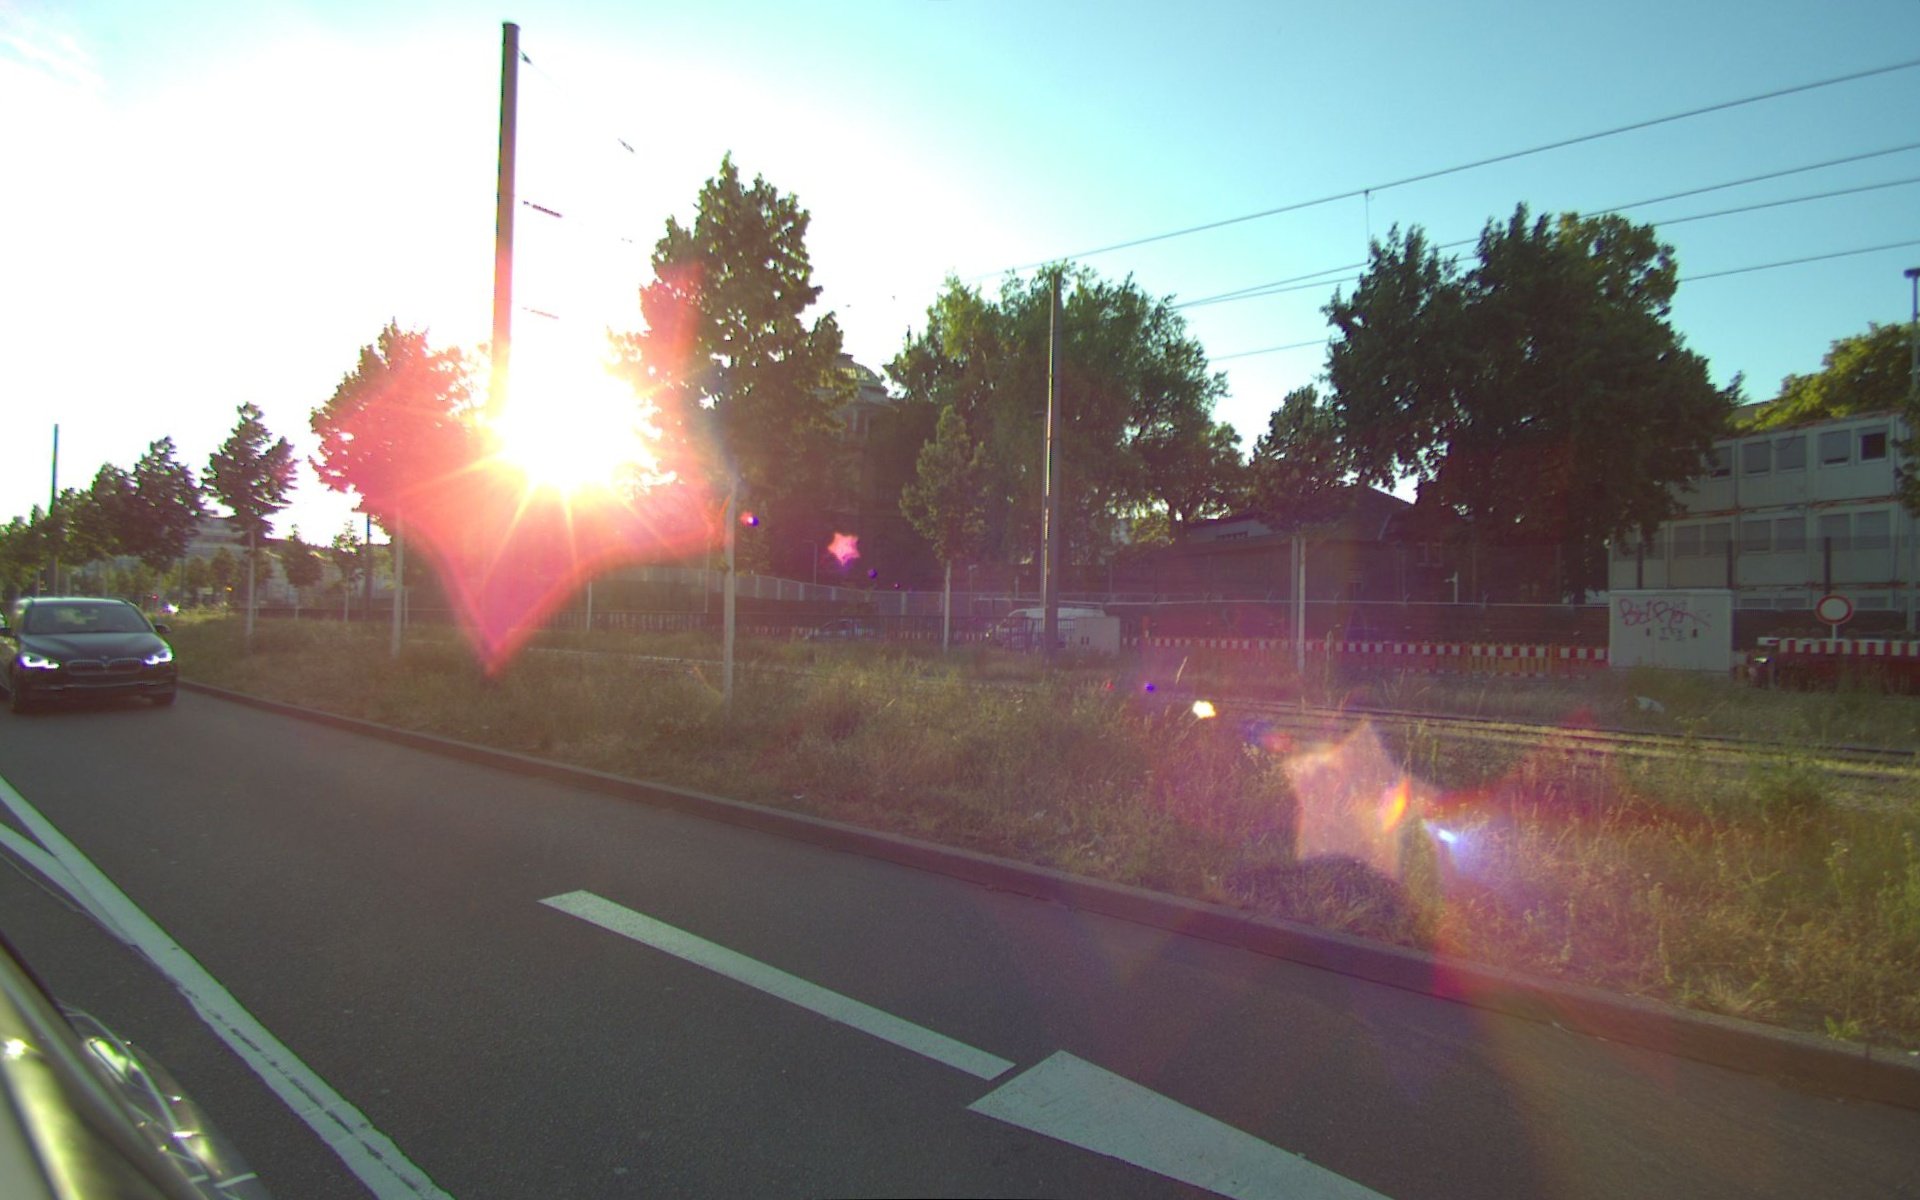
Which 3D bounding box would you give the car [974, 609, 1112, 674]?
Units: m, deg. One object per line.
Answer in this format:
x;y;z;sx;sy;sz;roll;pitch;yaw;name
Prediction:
2.942;1.455;36.508;4.750;2.184;1.972;-2;-1;42;car

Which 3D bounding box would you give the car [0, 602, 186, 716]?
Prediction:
-13.325;0.809;15.197;4.841;1.444;1.835;-2;-1;42;car

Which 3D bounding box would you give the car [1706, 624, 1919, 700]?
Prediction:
18.967;1.292;21.776;4.520;1.492;1.973;-2;-1;41;car

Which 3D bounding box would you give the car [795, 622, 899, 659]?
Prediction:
-4.923;1.742;43.728;4.522;1.492;1.972;-2;-1;43;car

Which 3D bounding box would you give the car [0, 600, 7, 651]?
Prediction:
-29.532;0.792;29.756;4.842;1.444;1.834;-2;-1;42;car
